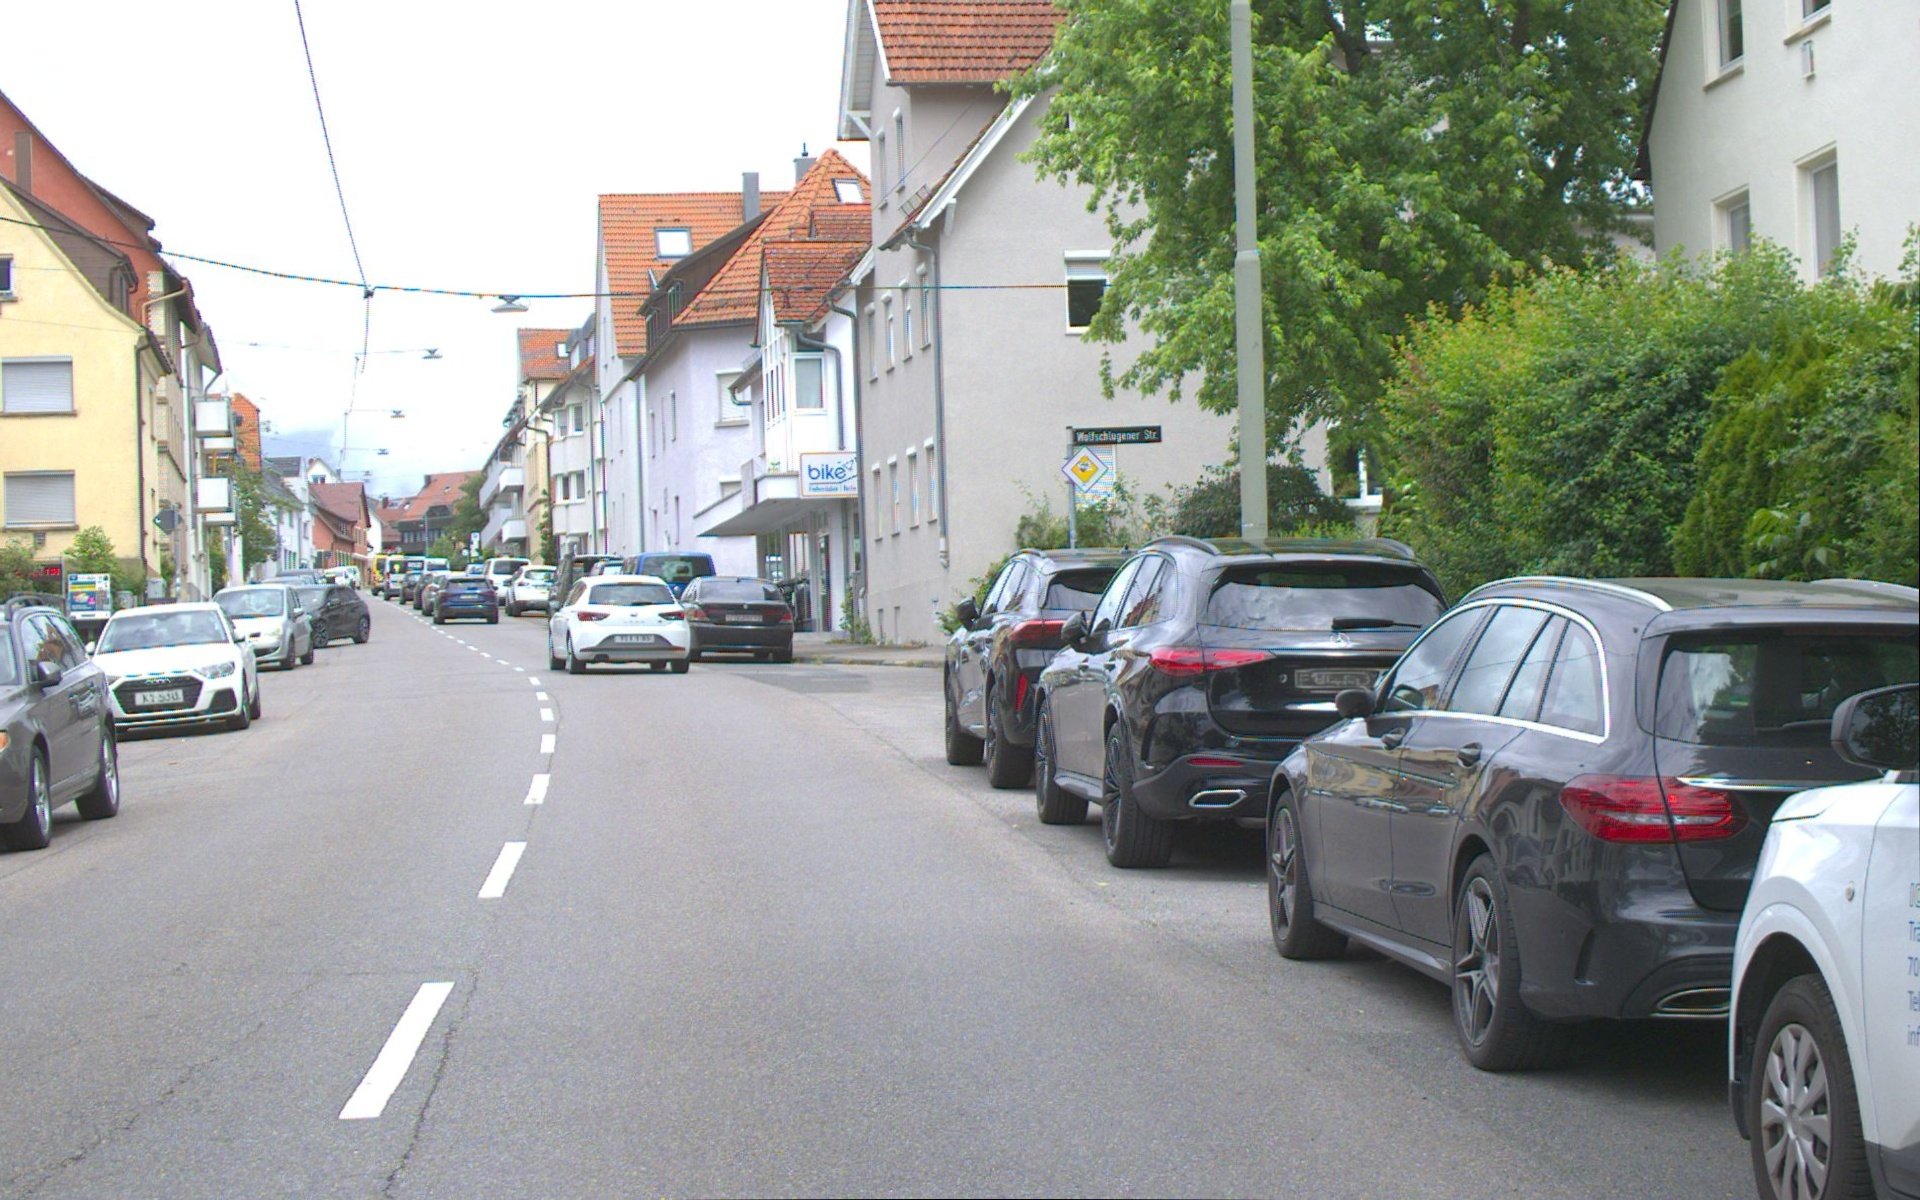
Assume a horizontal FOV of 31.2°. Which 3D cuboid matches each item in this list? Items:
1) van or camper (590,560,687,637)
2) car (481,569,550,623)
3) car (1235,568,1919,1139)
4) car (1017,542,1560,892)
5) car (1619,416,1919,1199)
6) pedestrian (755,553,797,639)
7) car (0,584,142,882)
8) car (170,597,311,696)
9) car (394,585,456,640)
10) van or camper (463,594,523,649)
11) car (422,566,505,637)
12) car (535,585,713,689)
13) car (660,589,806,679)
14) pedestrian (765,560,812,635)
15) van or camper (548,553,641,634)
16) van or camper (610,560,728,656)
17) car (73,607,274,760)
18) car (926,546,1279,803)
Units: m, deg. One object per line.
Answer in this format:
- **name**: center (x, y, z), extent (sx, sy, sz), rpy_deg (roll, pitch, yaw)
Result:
- **van or camper**: center (-7.849, -0.054, 83.568), extent (1.870, 1.822, 4.681), rpy_deg (1, 0, -11)
- **car**: center (-14.574, -0.143, 112.612), extent (1.940, 1.687, 4.001), rpy_deg (1, 0, -12)
- **car**: center (2.343, 0.657, 11.443), extent (1.993, 1.473, 4.621), rpy_deg (-2, 0, -6)
- **car**: center (1.564, 0.544, 18.146), extent (1.993, 1.610, 4.540), rpy_deg (0, 0, -6)
- **car**: center (2.745, 0.559, 6.029), extent (1.837, 1.768, 4.318), rpy_deg (1, 1, -7)
- **pedestrian**: center (-4.340, -0.094, 81.242), extent (0.760, 2.007, 0.618), rpy_deg (-1, 0, 25)
- **car**: center (-6.536, 0.807, 21.859), extent (1.846, 1.674, 4.788), rpy_deg (-4, 1, -5)
- **car**: center (-13.102, 0.814, 62.806), extent (1.833, 1.572, 4.032), rpy_deg (-5, 1, -3)
- **car**: center (-20.236, 0.460, 129.862), extent (2.152, 2.007, 4.001), rpy_deg (0, 0, -11)
- **van or camper**: center (-18.288, 0.819, 134.574), extent (1.940, 2.048, 4.564), rpy_deg (-1, 1, -12)
- **car**: center (-14.375, 0.034, 99.363), extent (2.152, 2.007, 4.001), rpy_deg (0, 0, -11)
- **car**: center (-5.004, 0.517, 50.795), extent (1.940, 1.434, 4.001), rpy_deg (-1, 1, -16)
- **car**: center (-4.039, 0.574, 60.485), extent (1.993, 1.512, 4.893), rpy_deg (0, 0, -11)
- **pedestrian**: center (-3.972, -0.053, 79.590), extent (0.871, 1.719, 0.618), rpy_deg (-1, 0, 25)
- **van or camper**: center (-9.723, -0.178, 91.139), extent (1.993, 2.059, 5.946), rpy_deg (1, 0, -10)
- **van or camper**: center (-6.117, 0.146, 71.888), extent (1.926, 1.919, 4.832), rpy_deg (-1, 1, -11)
- **car**: center (-8.650, 0.876, 38.071), extent (1.725, 1.453, 3.899), rpy_deg (-5, 1, -8)
- **car**: center (0.880, 0.472, 23.894), extent (1.810, 1.610, 4.540), rpy_deg (0, 0, -6)
